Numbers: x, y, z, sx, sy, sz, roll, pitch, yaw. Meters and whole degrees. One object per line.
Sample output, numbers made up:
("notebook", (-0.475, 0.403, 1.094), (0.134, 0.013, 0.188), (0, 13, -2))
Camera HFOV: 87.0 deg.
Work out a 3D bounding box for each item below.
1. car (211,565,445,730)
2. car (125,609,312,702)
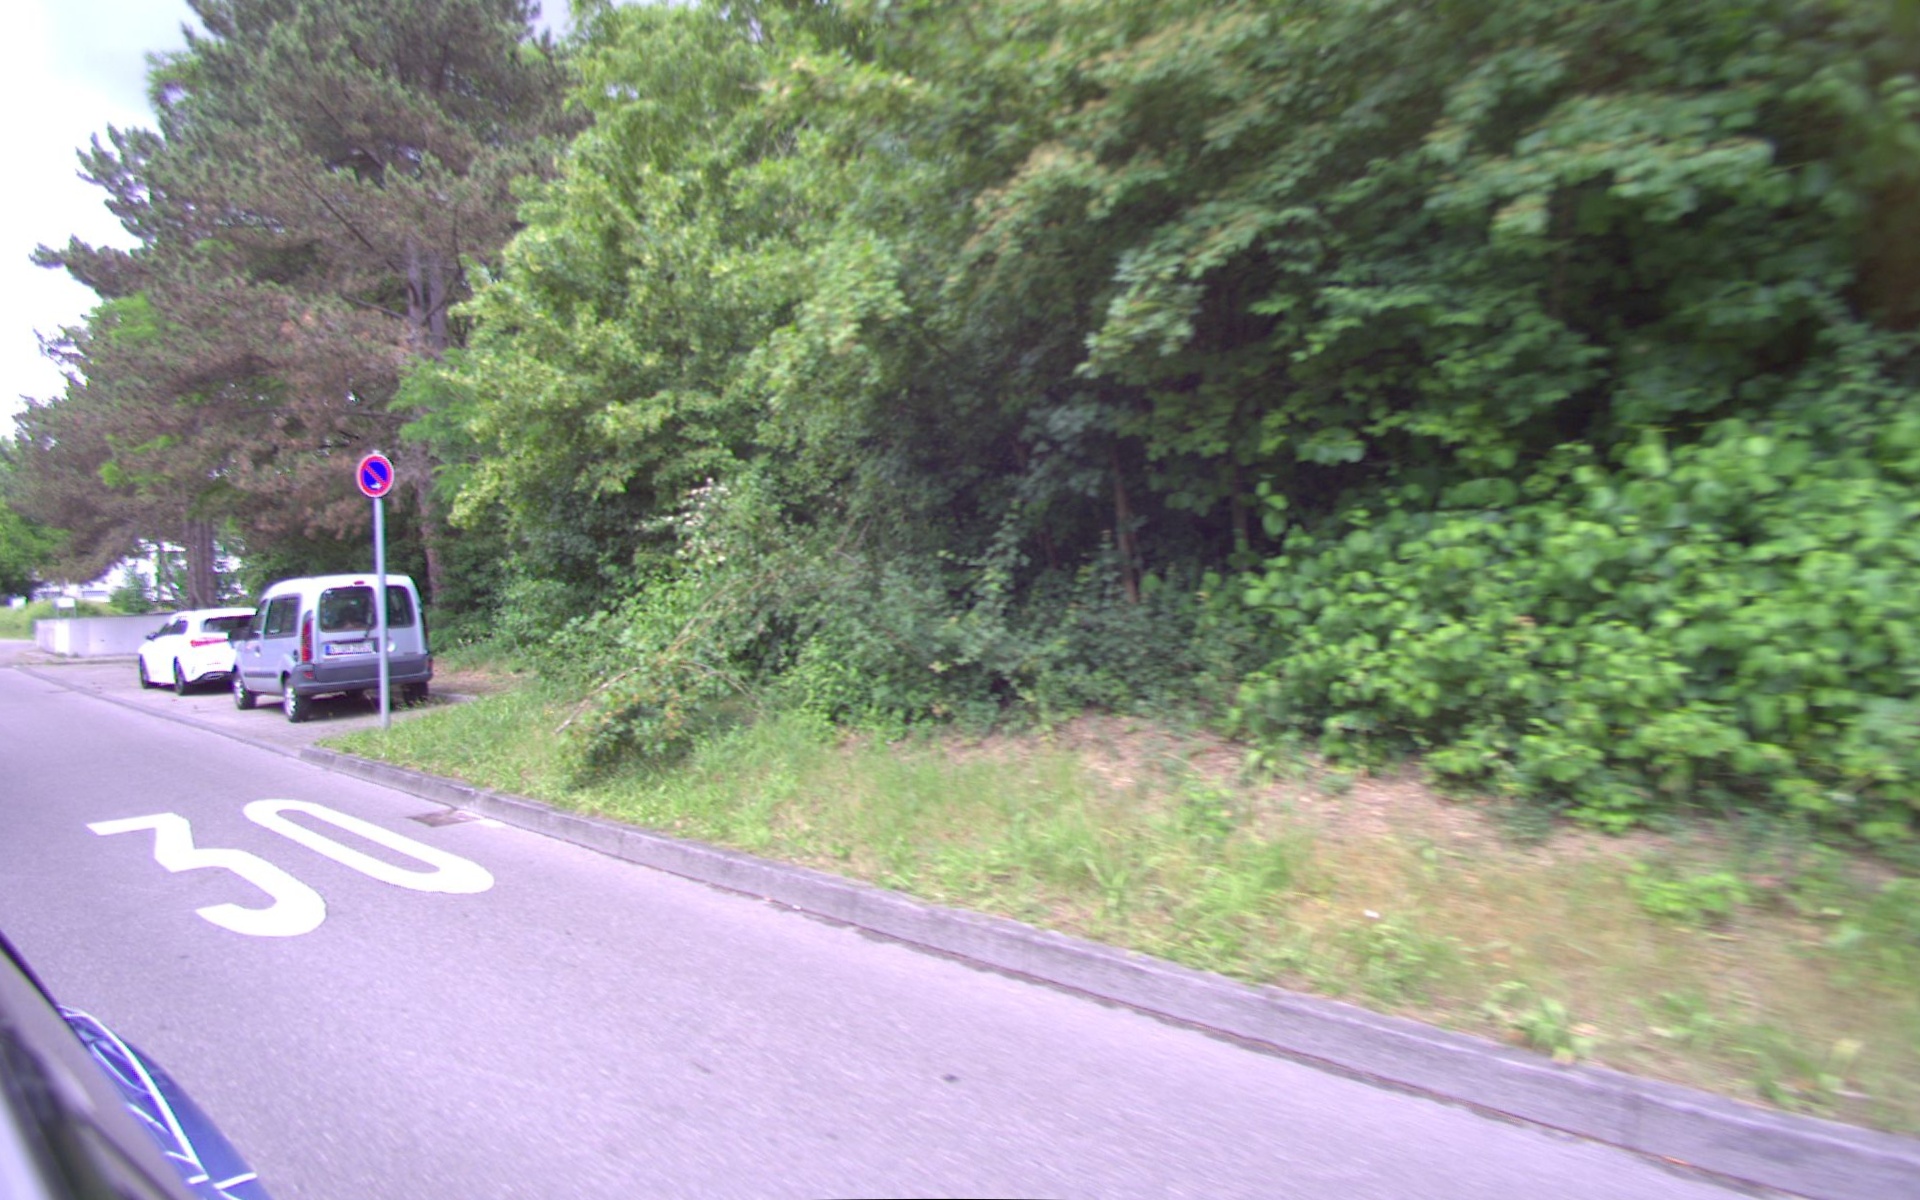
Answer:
("car", (-8.943, 0.609, 14.181), (4.105, 1.935, 1.702), (-2, 1, 43))
("car", (-13.661, 0.960, 18.549), (4.369, 1.413, 1.787), (-2, 1, 41))
